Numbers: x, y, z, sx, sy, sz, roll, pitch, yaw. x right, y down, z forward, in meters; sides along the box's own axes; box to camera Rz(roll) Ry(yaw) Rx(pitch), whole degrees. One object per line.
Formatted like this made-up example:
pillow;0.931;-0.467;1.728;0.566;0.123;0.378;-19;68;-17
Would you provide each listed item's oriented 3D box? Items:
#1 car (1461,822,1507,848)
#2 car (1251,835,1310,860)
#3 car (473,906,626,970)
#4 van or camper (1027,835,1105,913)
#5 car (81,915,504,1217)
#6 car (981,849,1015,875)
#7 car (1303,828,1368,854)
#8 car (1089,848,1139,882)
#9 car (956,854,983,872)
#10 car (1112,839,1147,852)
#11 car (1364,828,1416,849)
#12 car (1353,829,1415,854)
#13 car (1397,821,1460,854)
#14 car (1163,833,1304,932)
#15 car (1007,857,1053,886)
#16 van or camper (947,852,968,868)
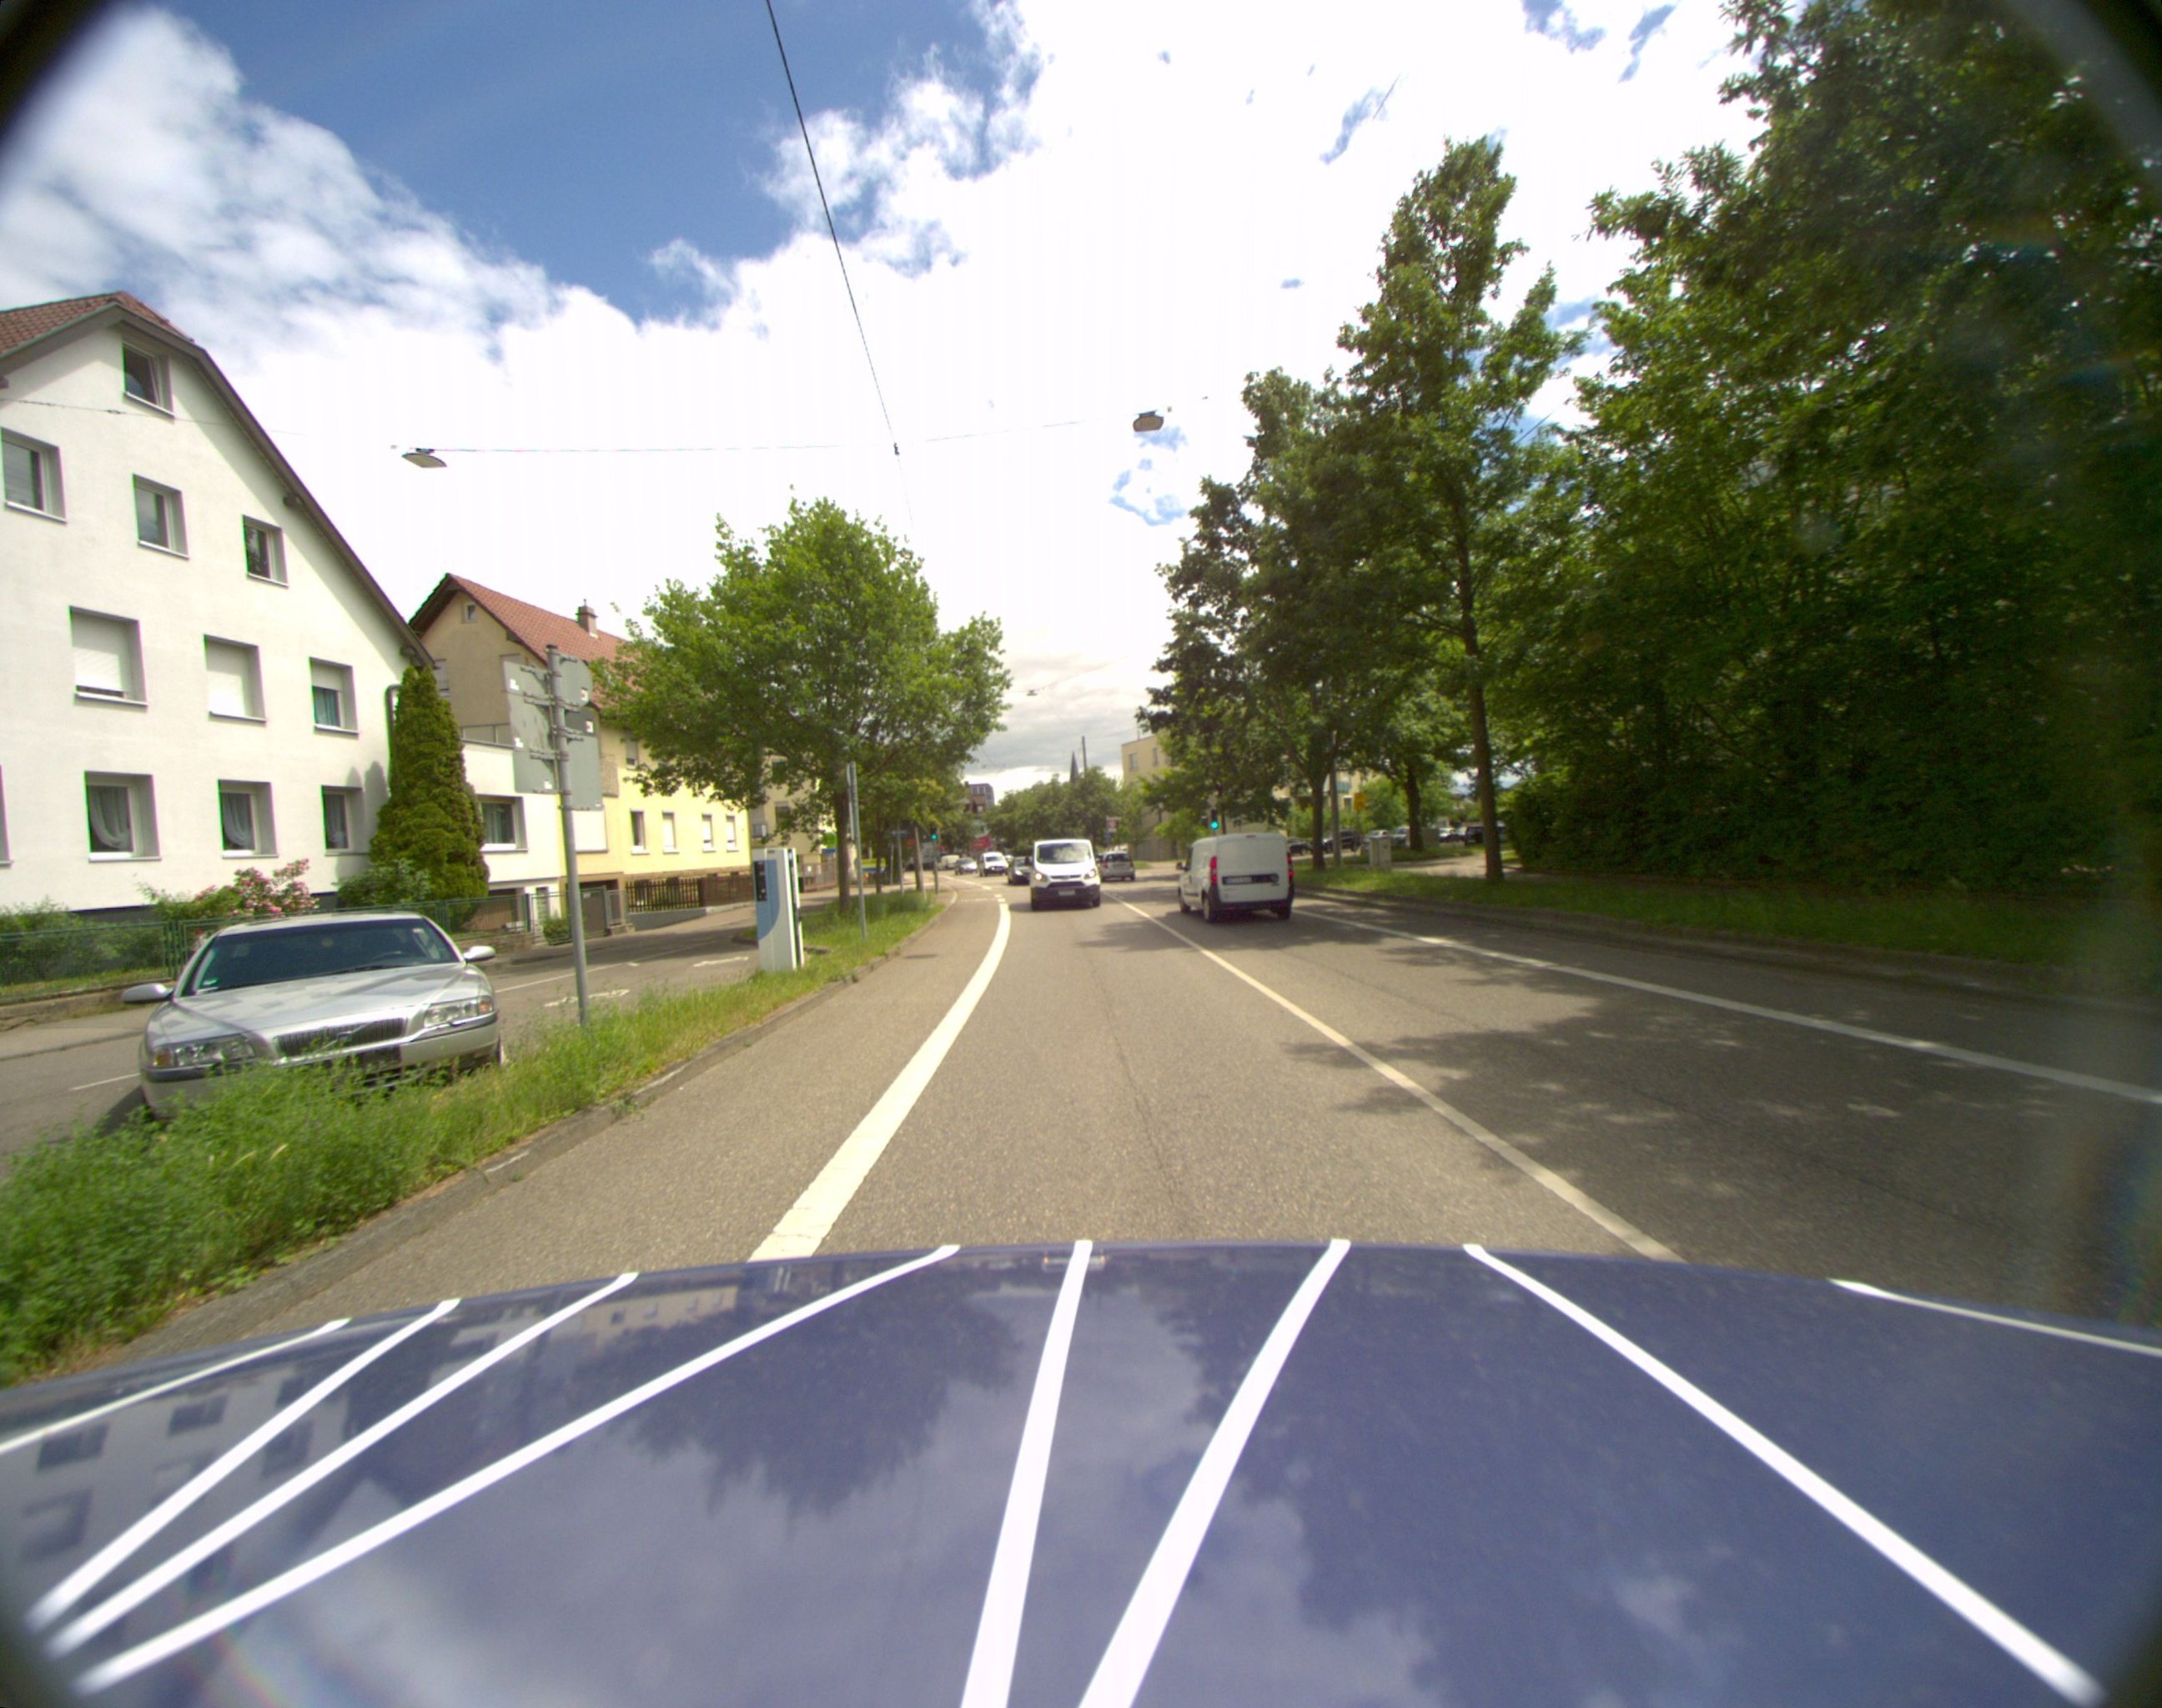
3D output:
car;31.276;-1.497;58.923;2.121;1.783;4.426;-3;1;42
car;14.940;-0.498;56.894;4.157;1.390;1.734;-7;3;-29
car;-15.148;2.349;21.934;1.465;1.118;3.871;-6;2;2
van or camper;-0.568;0.521;23.121;2.028;2.002;5.100;-3;1;-4
car;-6.542;1.345;6.409;4.677;1.443;1.771;-4;1;43
car;-6.468;0.582;58.889;1.854;1.806;3.994;-6;2;-15
car;19.883;-1.020;59.296;4.797;1.594;2.097;-6;4;-29
car;1.691;0.550;40.384;1.714;1.609;3.996;-5;1;-11
car;-10.522;0.803;71.586;1.695;1.478;3.993;-7;2;-19
car;5.713;-0.981;88.729;1.789;1.411;4.008;-4;-1;44
car;26.064;-1.333;64.088;4.004;1.325;1.970;-7;3;-29
car;19.941;-0.842;49.929;4.005;1.445;1.692;-4;4;-31
car;23.876;-1.137;52.186;4.005;1.834;1.841;-6;2;-30
car;3.290;0.528;17.369;1.853;1.864;4.590;-3;1;-5
car;-2.760;0.916;40.292;1.842;1.382;3.996;-3;-1;-12
van or camper;-14.989;0.700;92.078;1.867;1.766;4.374;-4;1;-15
